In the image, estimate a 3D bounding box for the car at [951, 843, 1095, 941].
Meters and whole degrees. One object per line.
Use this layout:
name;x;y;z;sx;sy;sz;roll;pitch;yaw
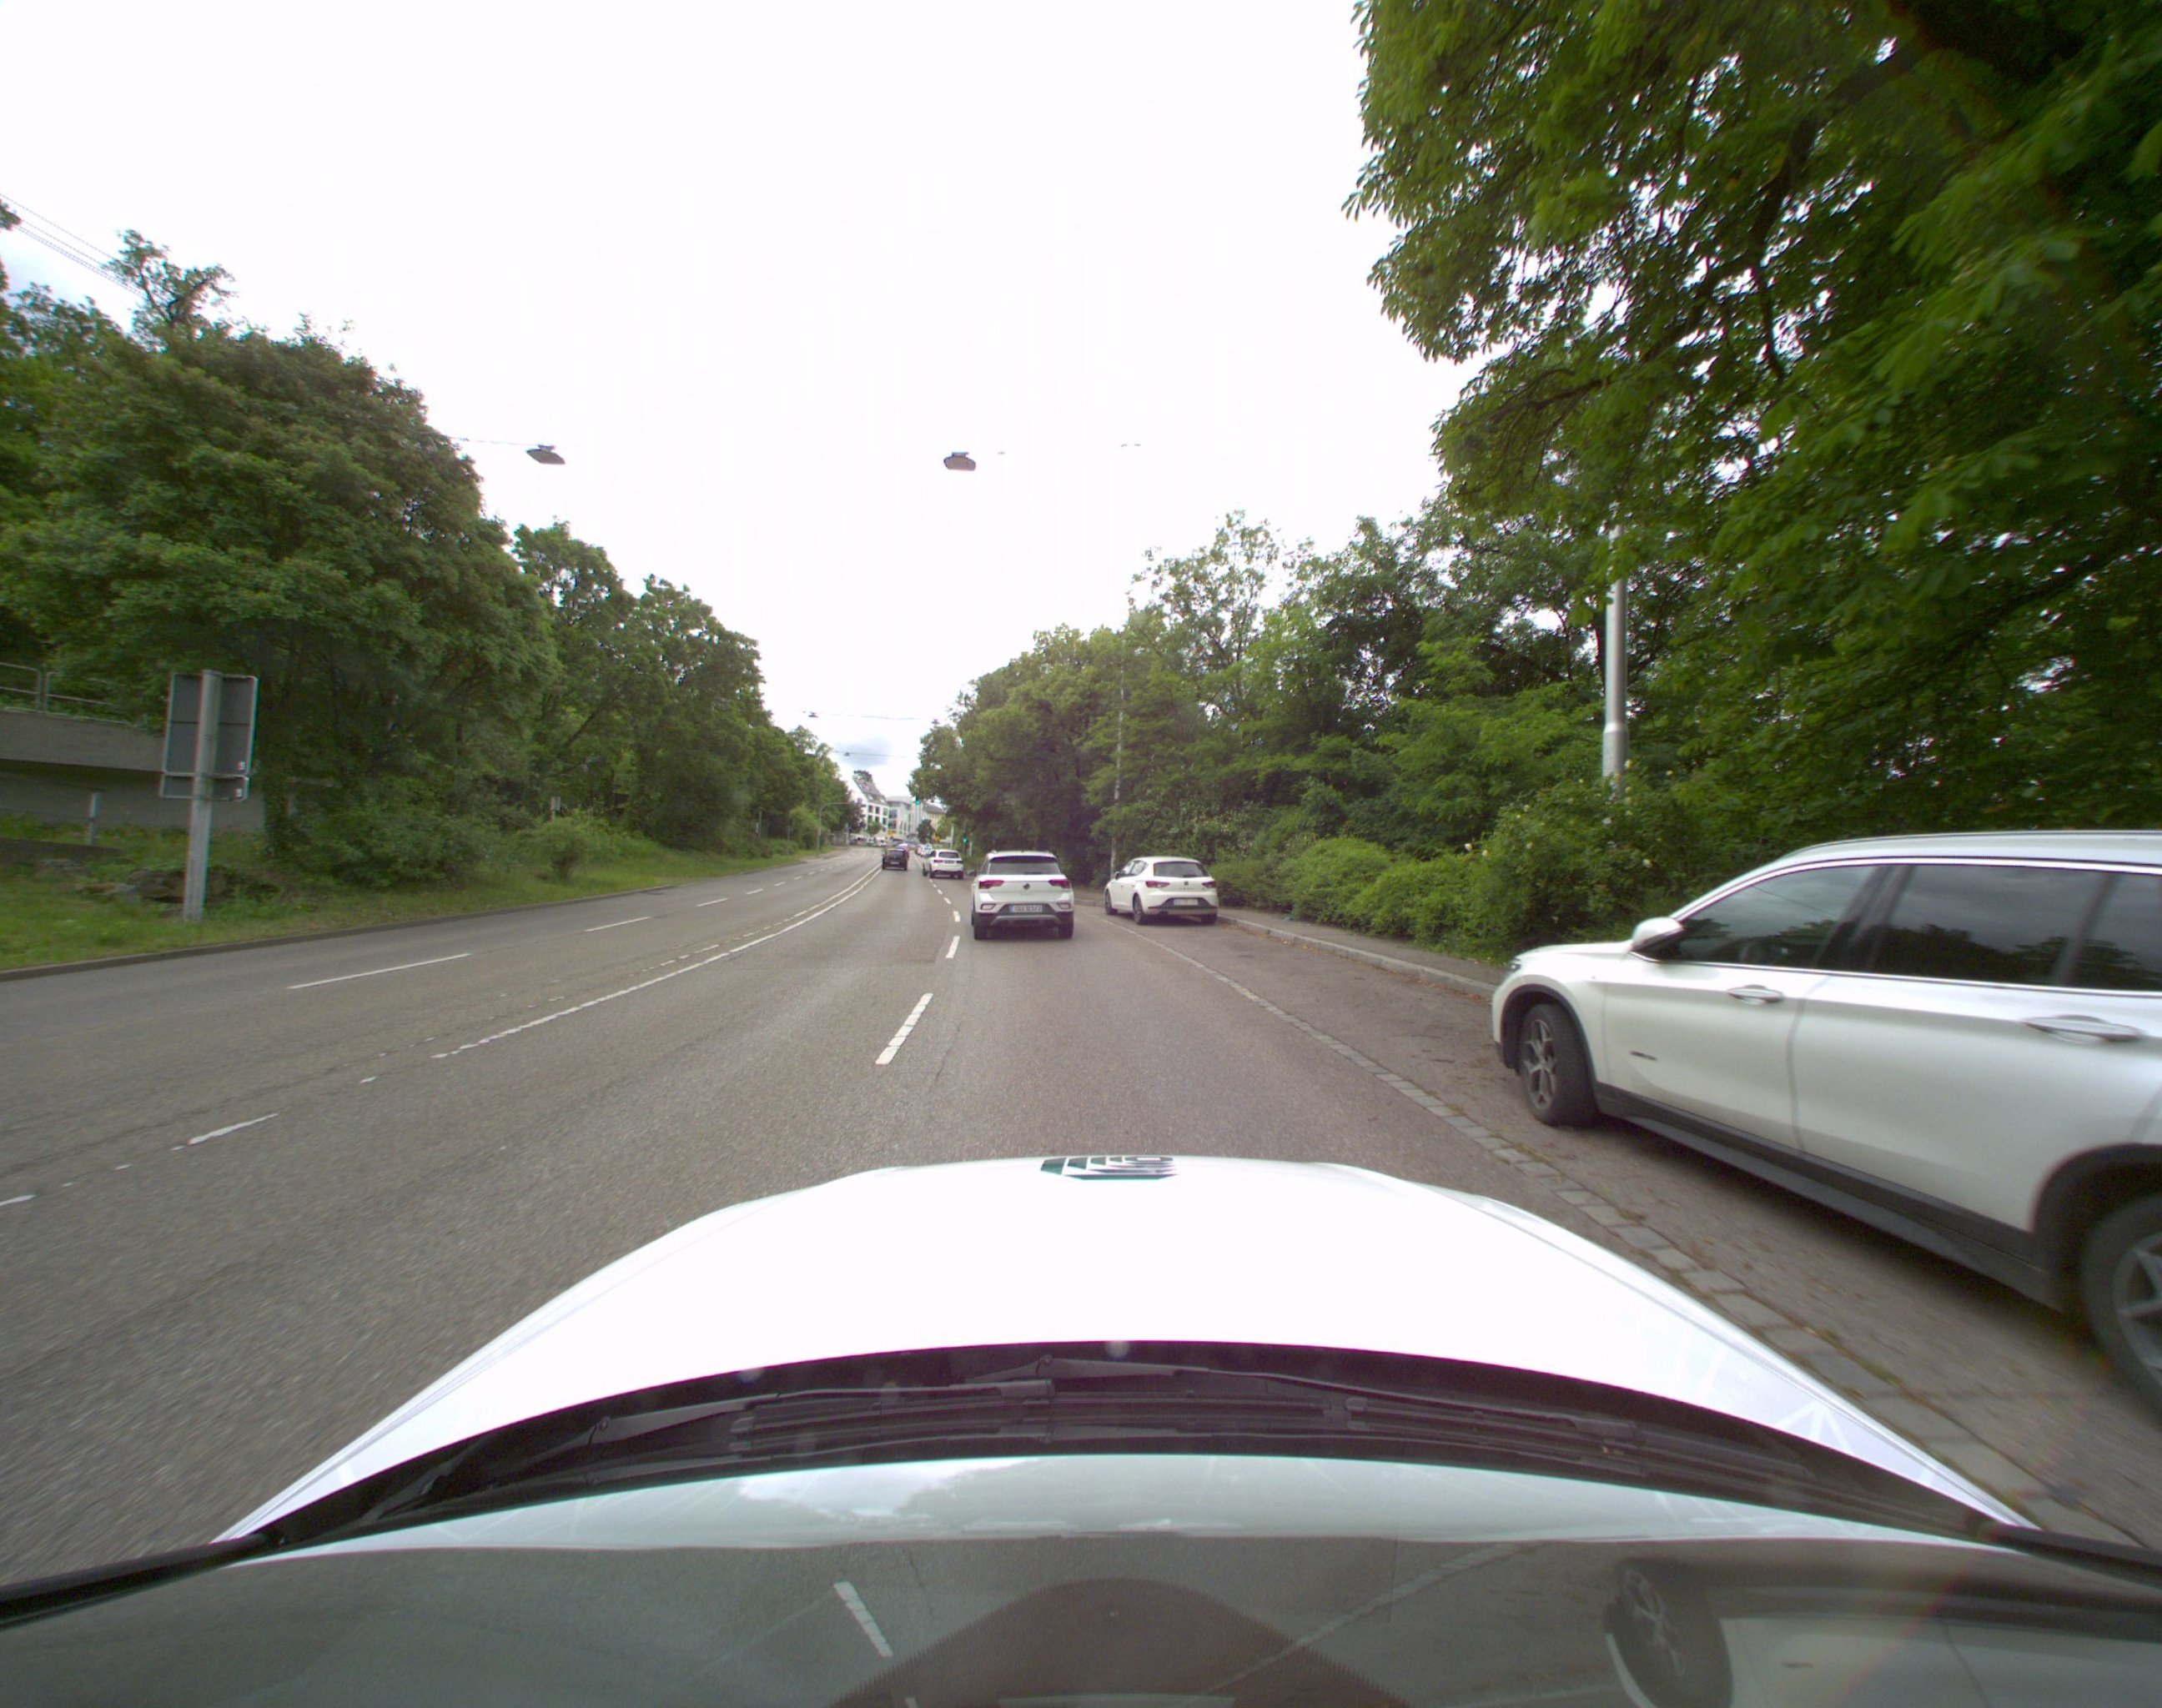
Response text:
car;-1.264;0.638;15.720;2.005;1.596;3.979;-1;0;-16

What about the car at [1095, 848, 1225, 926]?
car;1.670;0.668;18.925;1.733;1.482;4.685;2;1;-11

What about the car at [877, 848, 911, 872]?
car;-13.146;0.401;57.120;1.955;1.466;3.975;2;1;-19

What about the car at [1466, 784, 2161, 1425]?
car;3.589;0.633;3.342;1.754;1.652;4.376;-1;0;-3

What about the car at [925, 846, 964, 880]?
car;-7.885;0.481;46.774;1.855;1.702;3.980;0;3;-16
